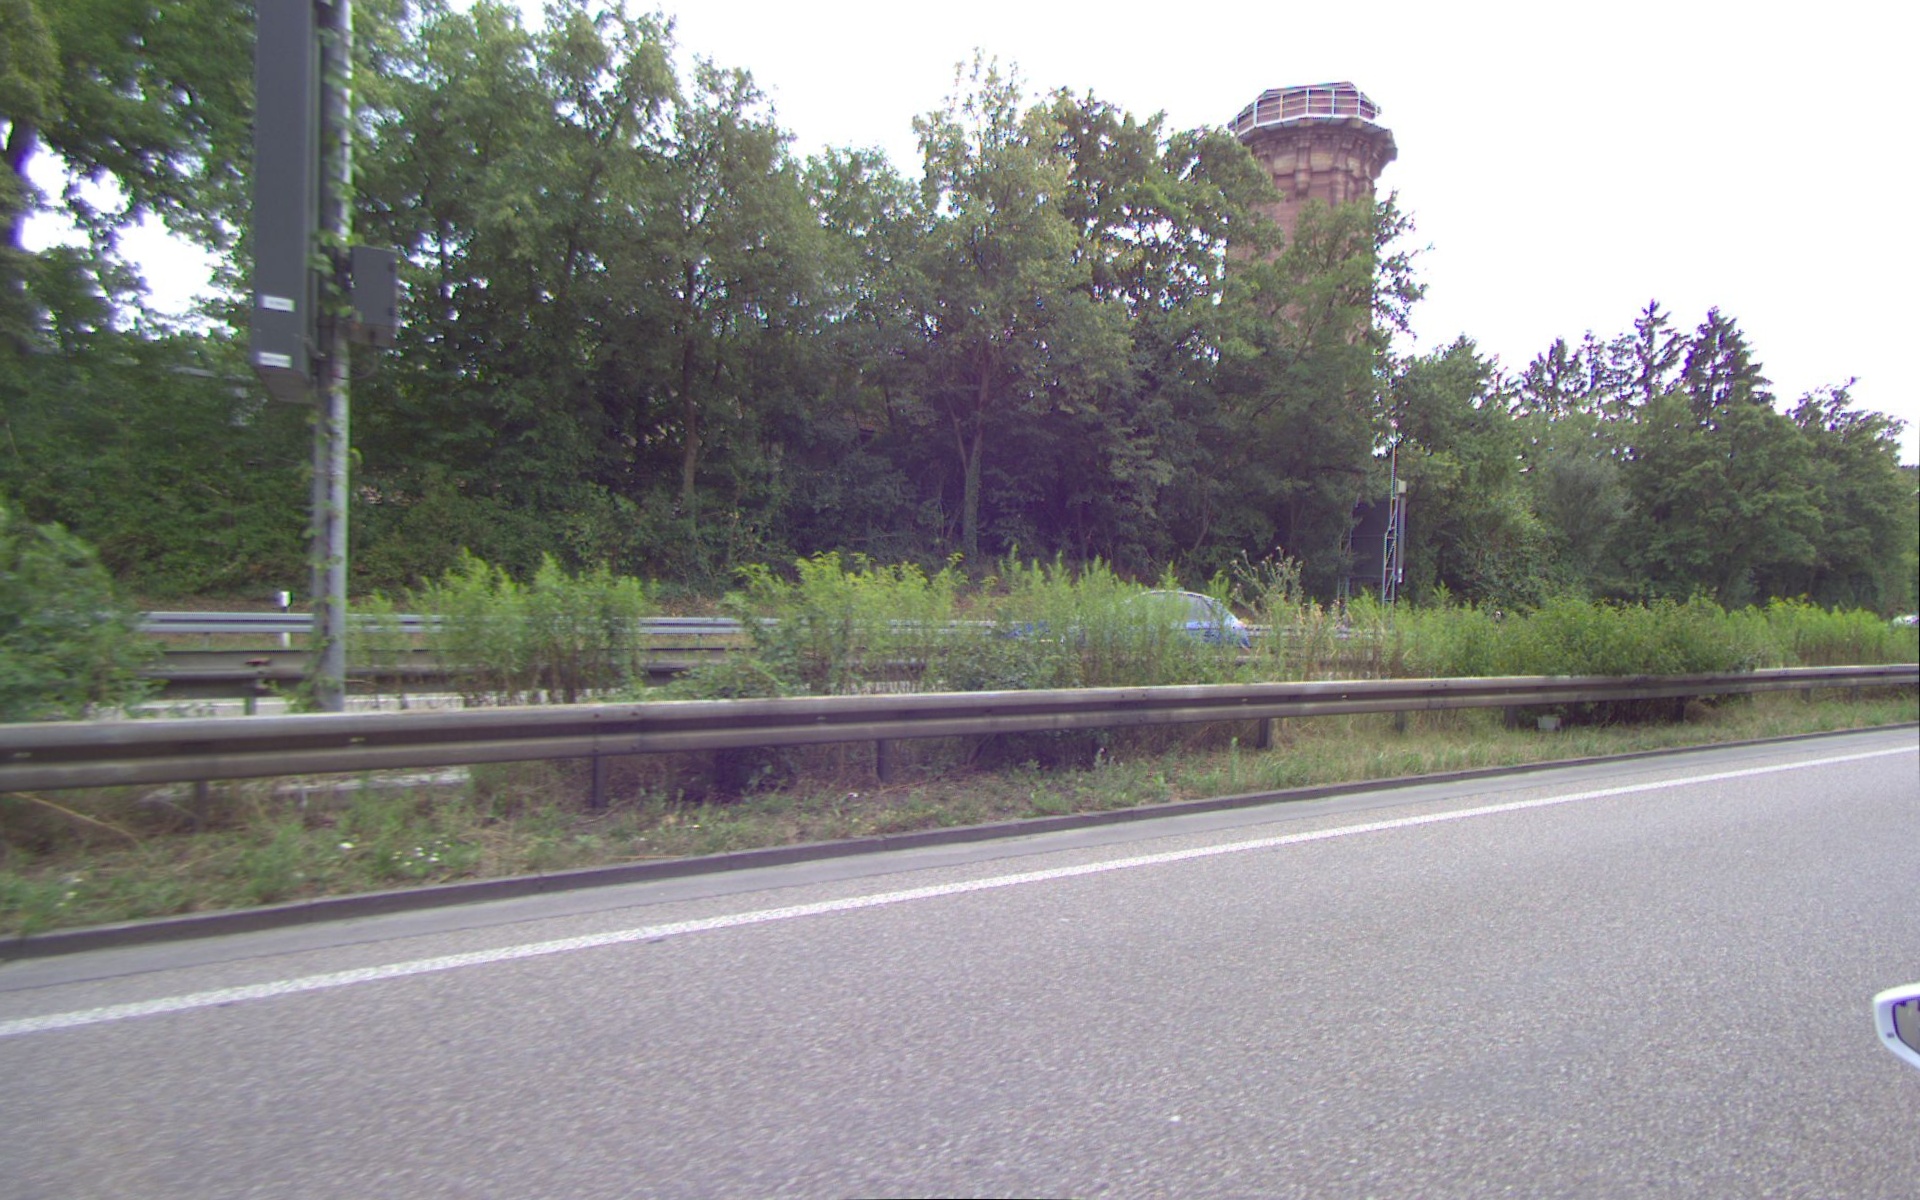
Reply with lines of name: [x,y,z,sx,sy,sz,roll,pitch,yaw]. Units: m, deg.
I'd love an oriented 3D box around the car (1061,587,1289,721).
car: [3.149,0.755,14.651,3.021,1.770,1.508,2,-1,-31]
